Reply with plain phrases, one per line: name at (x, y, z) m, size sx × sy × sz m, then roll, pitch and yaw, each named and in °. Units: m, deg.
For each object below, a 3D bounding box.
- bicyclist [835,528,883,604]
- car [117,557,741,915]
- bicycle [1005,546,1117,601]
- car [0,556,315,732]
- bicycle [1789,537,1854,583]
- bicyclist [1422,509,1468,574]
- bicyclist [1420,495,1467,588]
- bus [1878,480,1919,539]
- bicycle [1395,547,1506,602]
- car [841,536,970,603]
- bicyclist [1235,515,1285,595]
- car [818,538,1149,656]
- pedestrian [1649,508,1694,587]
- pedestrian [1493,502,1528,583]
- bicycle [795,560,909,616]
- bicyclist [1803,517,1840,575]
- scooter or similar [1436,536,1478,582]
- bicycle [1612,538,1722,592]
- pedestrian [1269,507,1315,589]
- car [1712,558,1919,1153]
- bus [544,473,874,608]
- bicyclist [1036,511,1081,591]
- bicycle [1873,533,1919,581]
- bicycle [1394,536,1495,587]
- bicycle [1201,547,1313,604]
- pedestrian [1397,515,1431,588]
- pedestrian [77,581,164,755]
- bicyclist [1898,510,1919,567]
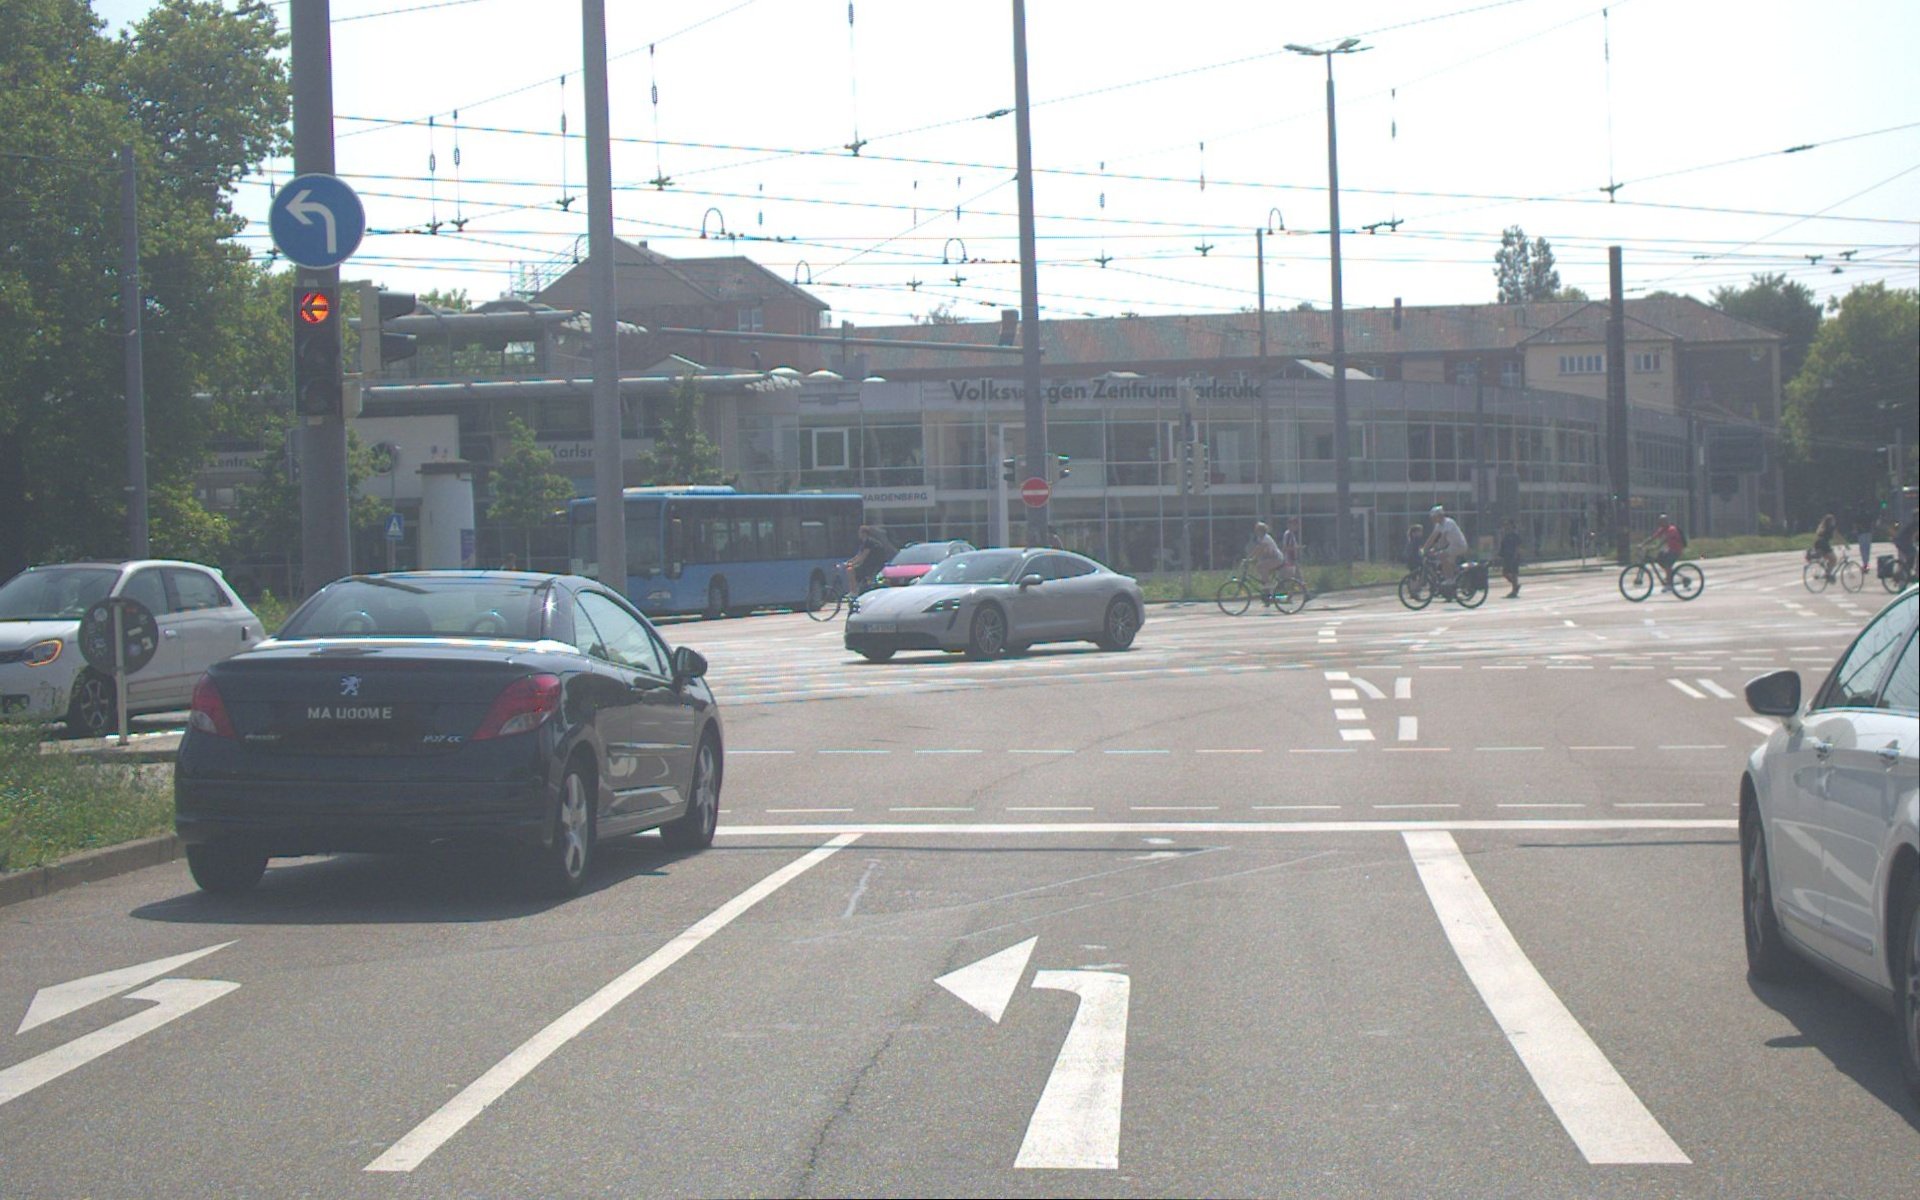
bicyclist at (-2.074, -0.706, 70.683) m, size 0.797 × 1.536 × 0.763 m, roll -1°, pitch 1°, yaw -14°
car at (-2.292, 0.529, 15.926) m, size 1.758 × 1.399 × 3.979 m, roll 0°, pitch 1°, yaw 8°
bicycle at (2.096, -0.557, 71.550) m, size 2.196 × 1.084 × 0.763 m, roll -1°, pitch 1°, yaw -11°
car at (-7.736, 0.362, 31.000) m, size 1.772 × 1.420 × 4.062 m, roll -1°, pitch 1°, yaw 23°
bicycle at (18.881, -0.885, 75.366) m, size 1.591 × 0.981 × 0.507 m, roll -2°, pitch 1°, yaw -39°
bicyclist at (10.199, -1.235, 72.334) m, size 0.668 × 1.345 × 0.712 m, roll -2°, pitch 1°, yaw -20°
bicyclist at (9.254, -1.115, 65.827) m, size 0.704 × 1.758 × 0.715 m, roll -1°, pitch 1°, yaw -6°
bus at (57.269, -5.498, 209.023) m, size 2.564 × 3.494 × 7.795 m, roll -1°, pitch 1°, yaw 16°
bicycle at (9.396, -0.490, 65.856) m, size 1.977 × 1.015 × 0.715 m, roll -1°, pitch 1°, yaw -6°
car at (-1.208, -0.711, 78.256) m, size 1.729 × 1.415 × 3.837 m, roll -1°, pitch 1°, yaw 19°
bicyclist at (5.659, -0.849, 64.931) m, size 0.664 × 1.503 × 0.715 m, roll -2°, pitch 1°, yaw -21°
car at (0.368, -0.063, 44.857) m, size 1.944 × 1.395 × 4.577 m, roll -1°, pitch 1°, yaw 37°
pedestrian at (13.946, -1.034, 67.379) m, size 0.663 × 1.529 × 0.713 m, roll -1°, pitch 1°, yaw 28°
pedestrian at (12.011, -1.253, 75.021) m, size 0.622 × 1.746 × 0.628 m, roll -1°, pitch 1°, yaw 1°
bicycle at (-2.218, -0.247, 70.658) m, size 2.196 × 1.084 × 0.763 m, roll -2°, pitch 1°, yaw -14°
bicyclist at (18.878, -1.179, 75.363) m, size 0.594 × 1.243 × 0.507 m, roll -2°, pitch 1°, yaw -39°
scooter or similar at (10.865, -0.897, 75.186) m, size 0.835 × 0.971 × 0.793 m, roll -1°, pitch 1°, yaw 3°
bicycle at (13.868, -0.678, 67.429) m, size 1.981 × 1.015 × 0.713 m, roll -1°, pitch 1°, yaw 28°
pedestrian at (7.194, -1.133, 74.405) m, size 0.784 × 1.746 × 0.808 m, roll -1°, pitch 1°, yaw 19°
car at (3.420, 0.620, 10.197) m, size 1.758 × 1.450 × 4.425 m, roll 0°, pitch 1°, yaw 5°
bus at (-5.709, -1.454, 81.595) m, size 3.057 × 2.921 × 11.841 m, roll -1°, pitch 1°, yaw 21°
bicyclist at (2.050, -1.019, 71.532) m, size 0.761 × 1.628 × 0.763 m, roll -1°, pitch 1°, yaw -11°
bicycle at (20.215, -0.916, 72.902) m, size 1.592 × 0.981 × 0.507 m, roll -1°, pitch 1°, yaw 21°
bicycle at (10.202, -0.807, 72.339) m, size 1.977 × 1.015 × 0.715 m, roll -2°, pitch 1°, yaw -20°
bicycle at (5.608, -0.464, 64.922) m, size 1.977 × 1.015 × 0.715 m, roll -2°, pitch 1°, yaw -21°
pedestrian at (9.932, -1.063, 75.208) m, size 0.635 × 1.555 × 0.747 m, roll -1°, pitch 1°, yaw 3°
pedestrian at (-6.383, 0.509, 26.140) m, size 0.595 × 1.264 × 0.505 m, roll -2°, pitch 3°, yaw -14°
bicyclist at (20.191, -1.303, 72.907) m, size 0.504 × 1.184 × 0.507 m, roll -1°, pitch 1°, yaw 21°
